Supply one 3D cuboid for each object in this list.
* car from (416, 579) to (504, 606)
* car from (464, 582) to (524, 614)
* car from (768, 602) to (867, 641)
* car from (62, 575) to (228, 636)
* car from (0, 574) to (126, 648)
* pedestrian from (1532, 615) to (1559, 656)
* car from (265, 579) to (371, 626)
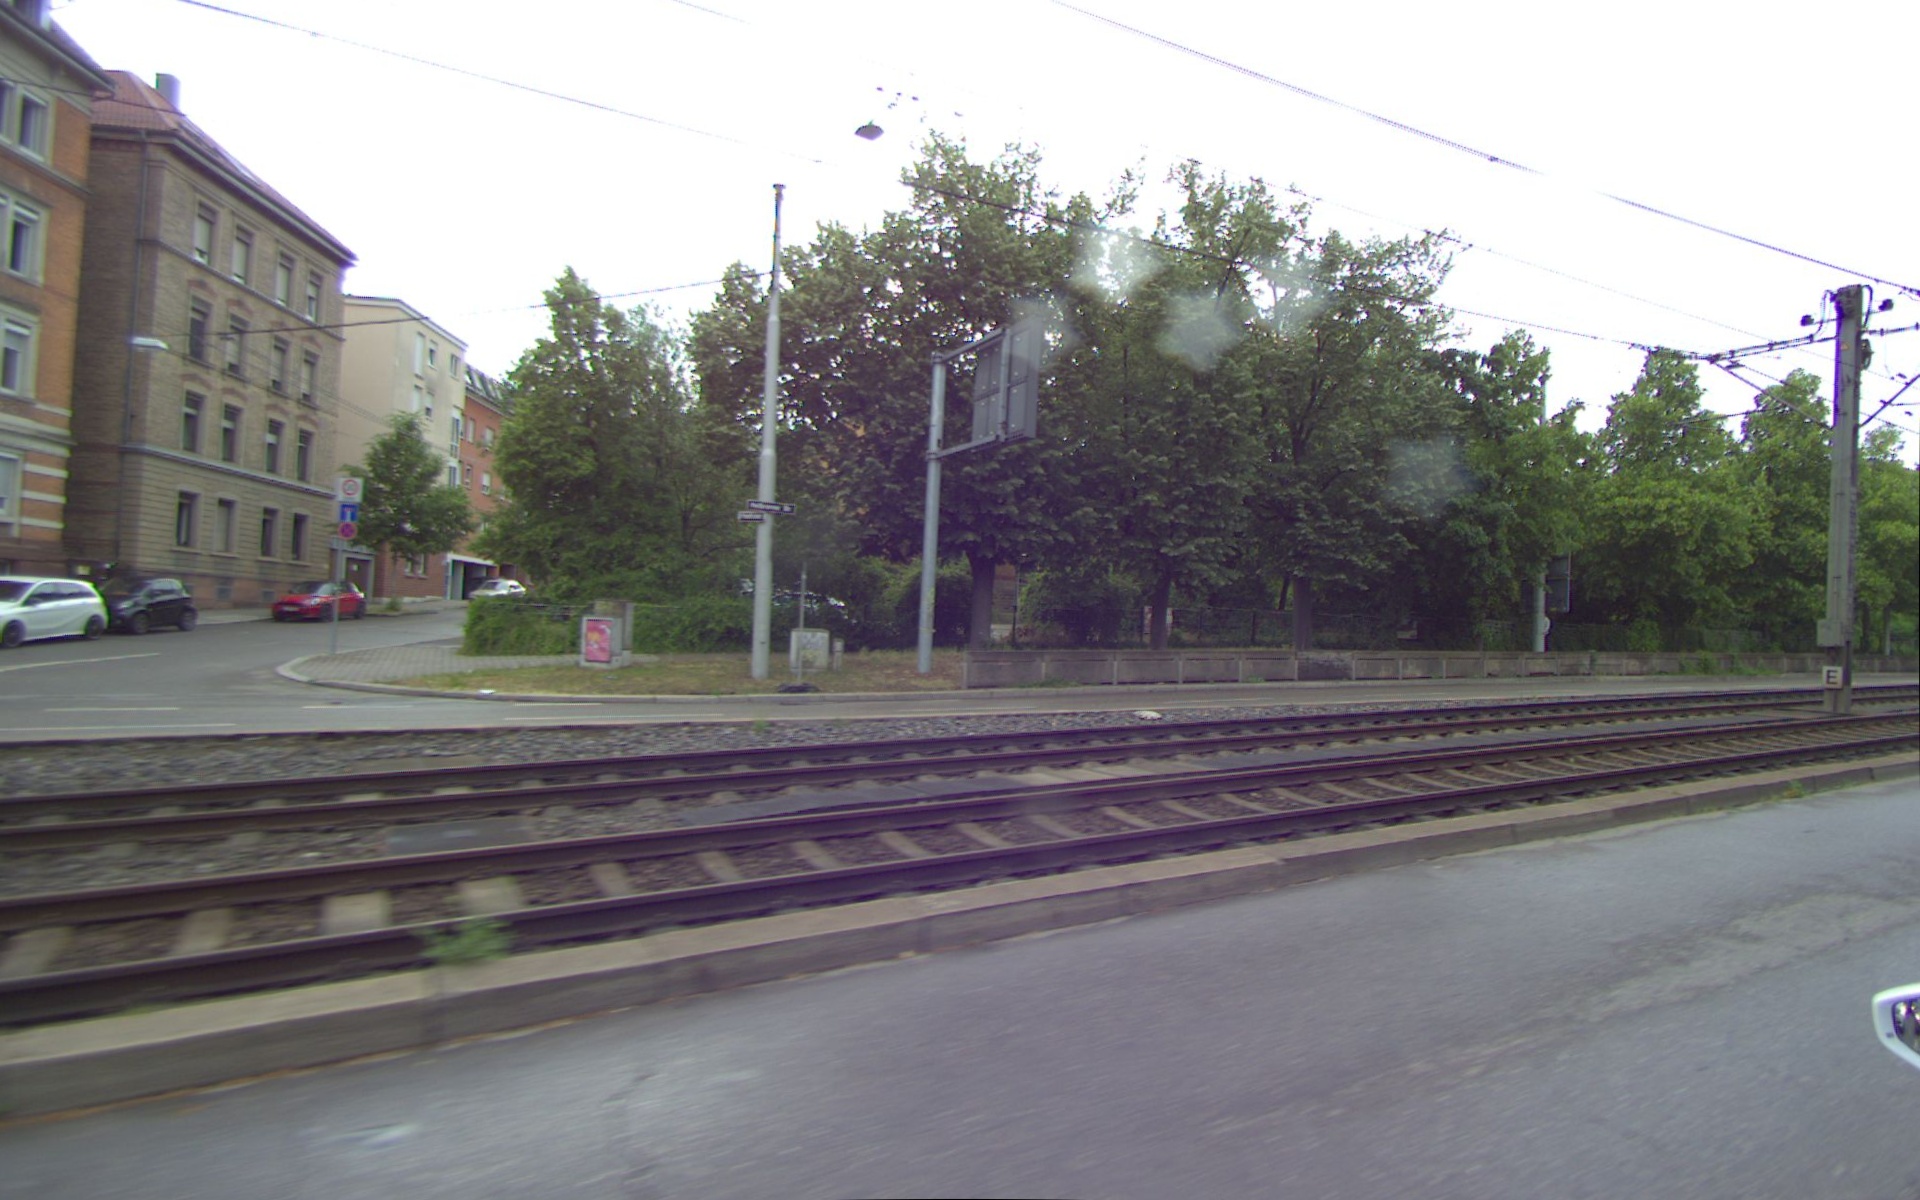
[{"bbox_3d":[-30.581,-0.438,61.535,4.414,1.530,1.799,2,0,-4],"label":"car"},{"bbox_3d":[-24.456,-0.145,52.846,1.654,1.522,3.810,4,0,-7],"label":"car"},{"bbox_3d":[-5.118,0.772,36.069,3.284,1.293,1.457,2,0,-19],"label":"car"},{"bbox_3d":[-23.219,0.116,28.837,1.871,1.522,3.949,4,0,-9],"label":"car"},{"bbox_3d":[-22.380,0.205,23.867,1.871,1.522,4.352,4,0,-9],"label":"car"},{"bbox_3d":[24.001,1.459,41.177,0.642,1.683,0.646,0,-2,-28],"label":"pedestrian"},{"bbox_3d":[-23.514,0.068,36.953,1.717,1.522,3.810,4,0,-7],"label":"car"}]
